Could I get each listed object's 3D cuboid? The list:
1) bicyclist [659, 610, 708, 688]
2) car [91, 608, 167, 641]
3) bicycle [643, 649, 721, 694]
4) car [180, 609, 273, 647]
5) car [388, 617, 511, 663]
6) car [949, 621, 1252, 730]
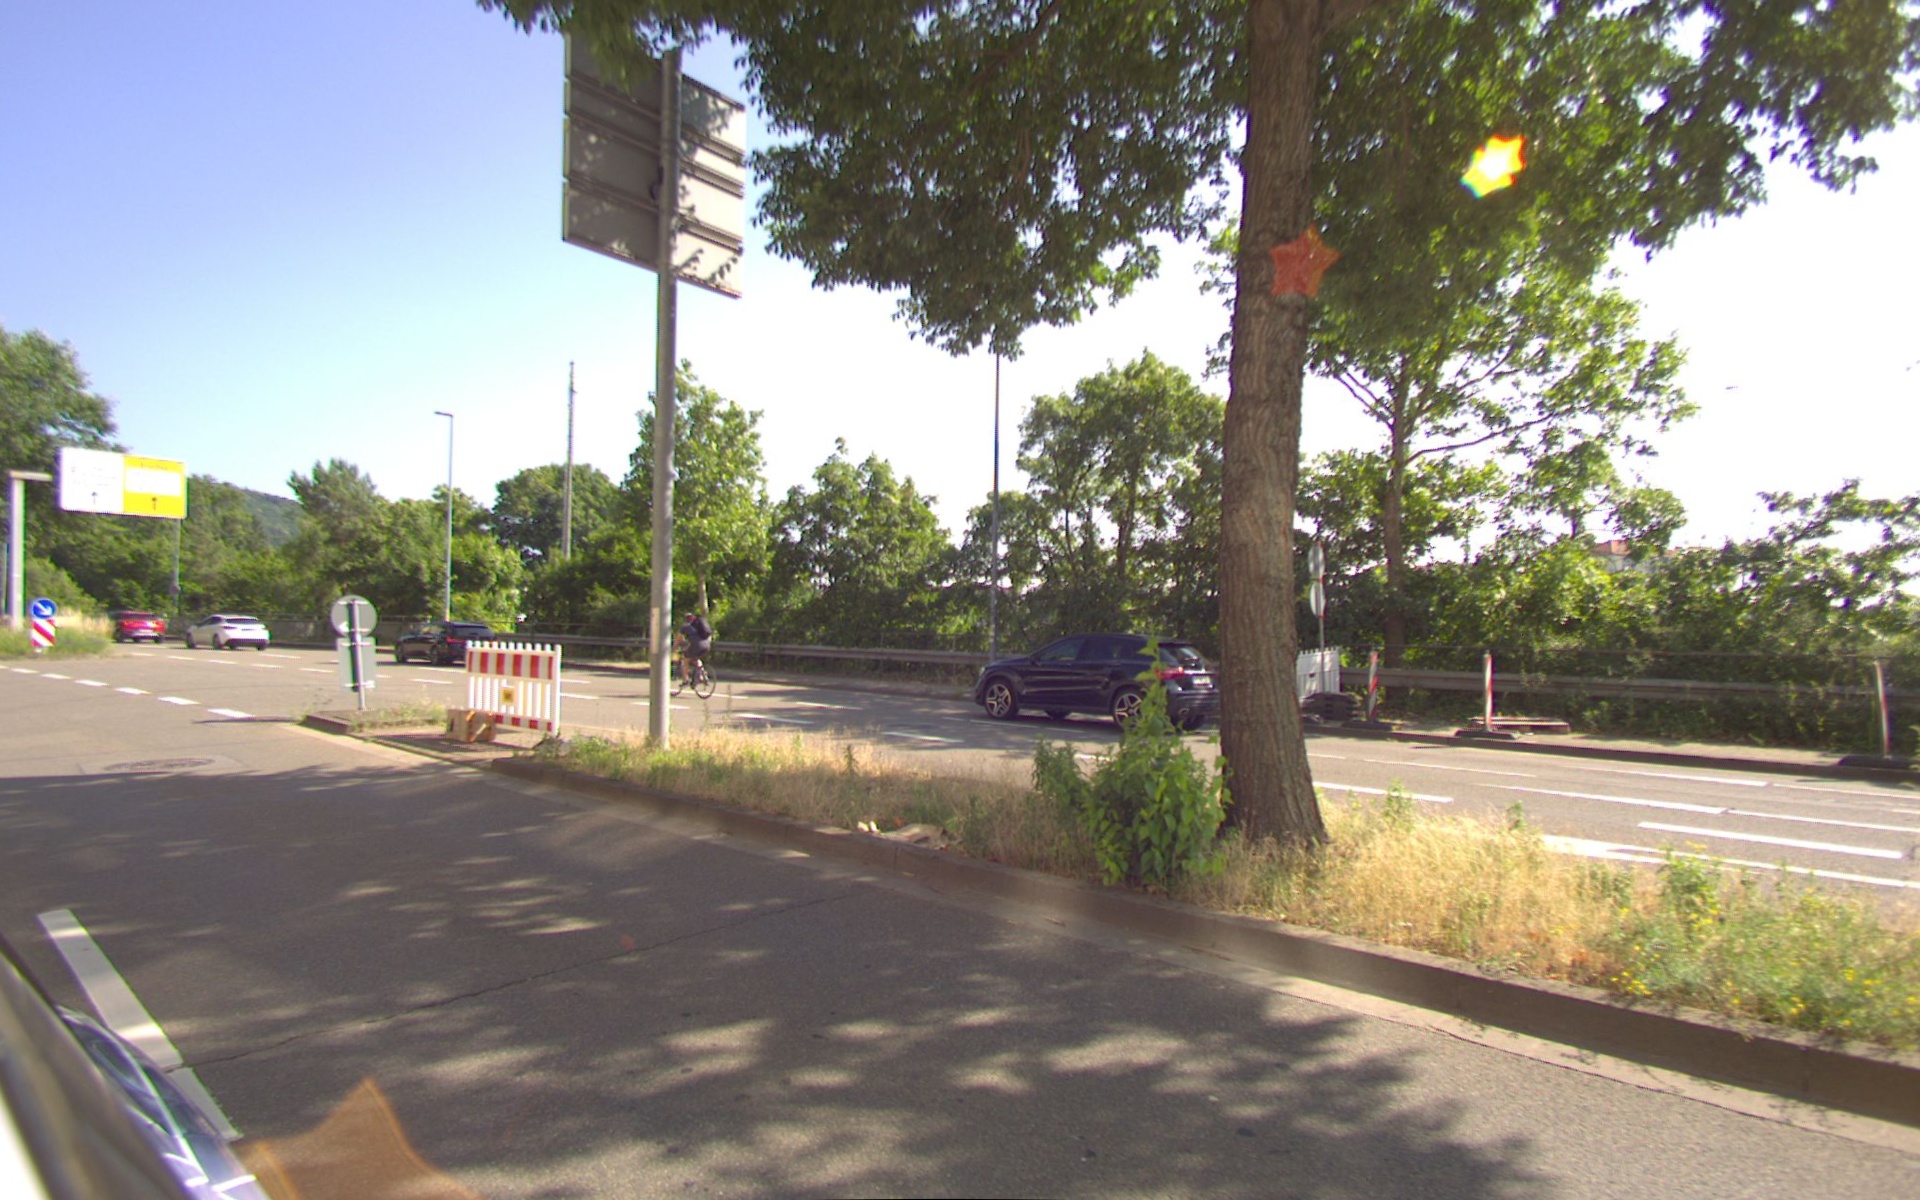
[{"bbox_3d":[-5.602,0.980,20.536,0.777,1.545,0.568,-1,-2,35],"label":"bicyclist"},{"bbox_3d":[-39.887,1.166,48.550,3.955,1.531,1.781,0,-3,35],"label":"car"},{"bbox_3d":[-5.651,1.428,20.549,1.802,0.839,0.489,-1,-2,35],"label":"bicycle"},{"bbox_3d":[-30.699,1.171,42.326,4.195,1.464,1.848,0,-3,35],"label":"car"},{"bbox_3d":[-16.929,1.307,33.466,4.613,1.422,1.973,-1,-3,41],"label":"car"},{"bbox_3d":[2.200,1.169,16.797,4.698,1.540,1.972,-1,-4,43],"label":"car"}]
